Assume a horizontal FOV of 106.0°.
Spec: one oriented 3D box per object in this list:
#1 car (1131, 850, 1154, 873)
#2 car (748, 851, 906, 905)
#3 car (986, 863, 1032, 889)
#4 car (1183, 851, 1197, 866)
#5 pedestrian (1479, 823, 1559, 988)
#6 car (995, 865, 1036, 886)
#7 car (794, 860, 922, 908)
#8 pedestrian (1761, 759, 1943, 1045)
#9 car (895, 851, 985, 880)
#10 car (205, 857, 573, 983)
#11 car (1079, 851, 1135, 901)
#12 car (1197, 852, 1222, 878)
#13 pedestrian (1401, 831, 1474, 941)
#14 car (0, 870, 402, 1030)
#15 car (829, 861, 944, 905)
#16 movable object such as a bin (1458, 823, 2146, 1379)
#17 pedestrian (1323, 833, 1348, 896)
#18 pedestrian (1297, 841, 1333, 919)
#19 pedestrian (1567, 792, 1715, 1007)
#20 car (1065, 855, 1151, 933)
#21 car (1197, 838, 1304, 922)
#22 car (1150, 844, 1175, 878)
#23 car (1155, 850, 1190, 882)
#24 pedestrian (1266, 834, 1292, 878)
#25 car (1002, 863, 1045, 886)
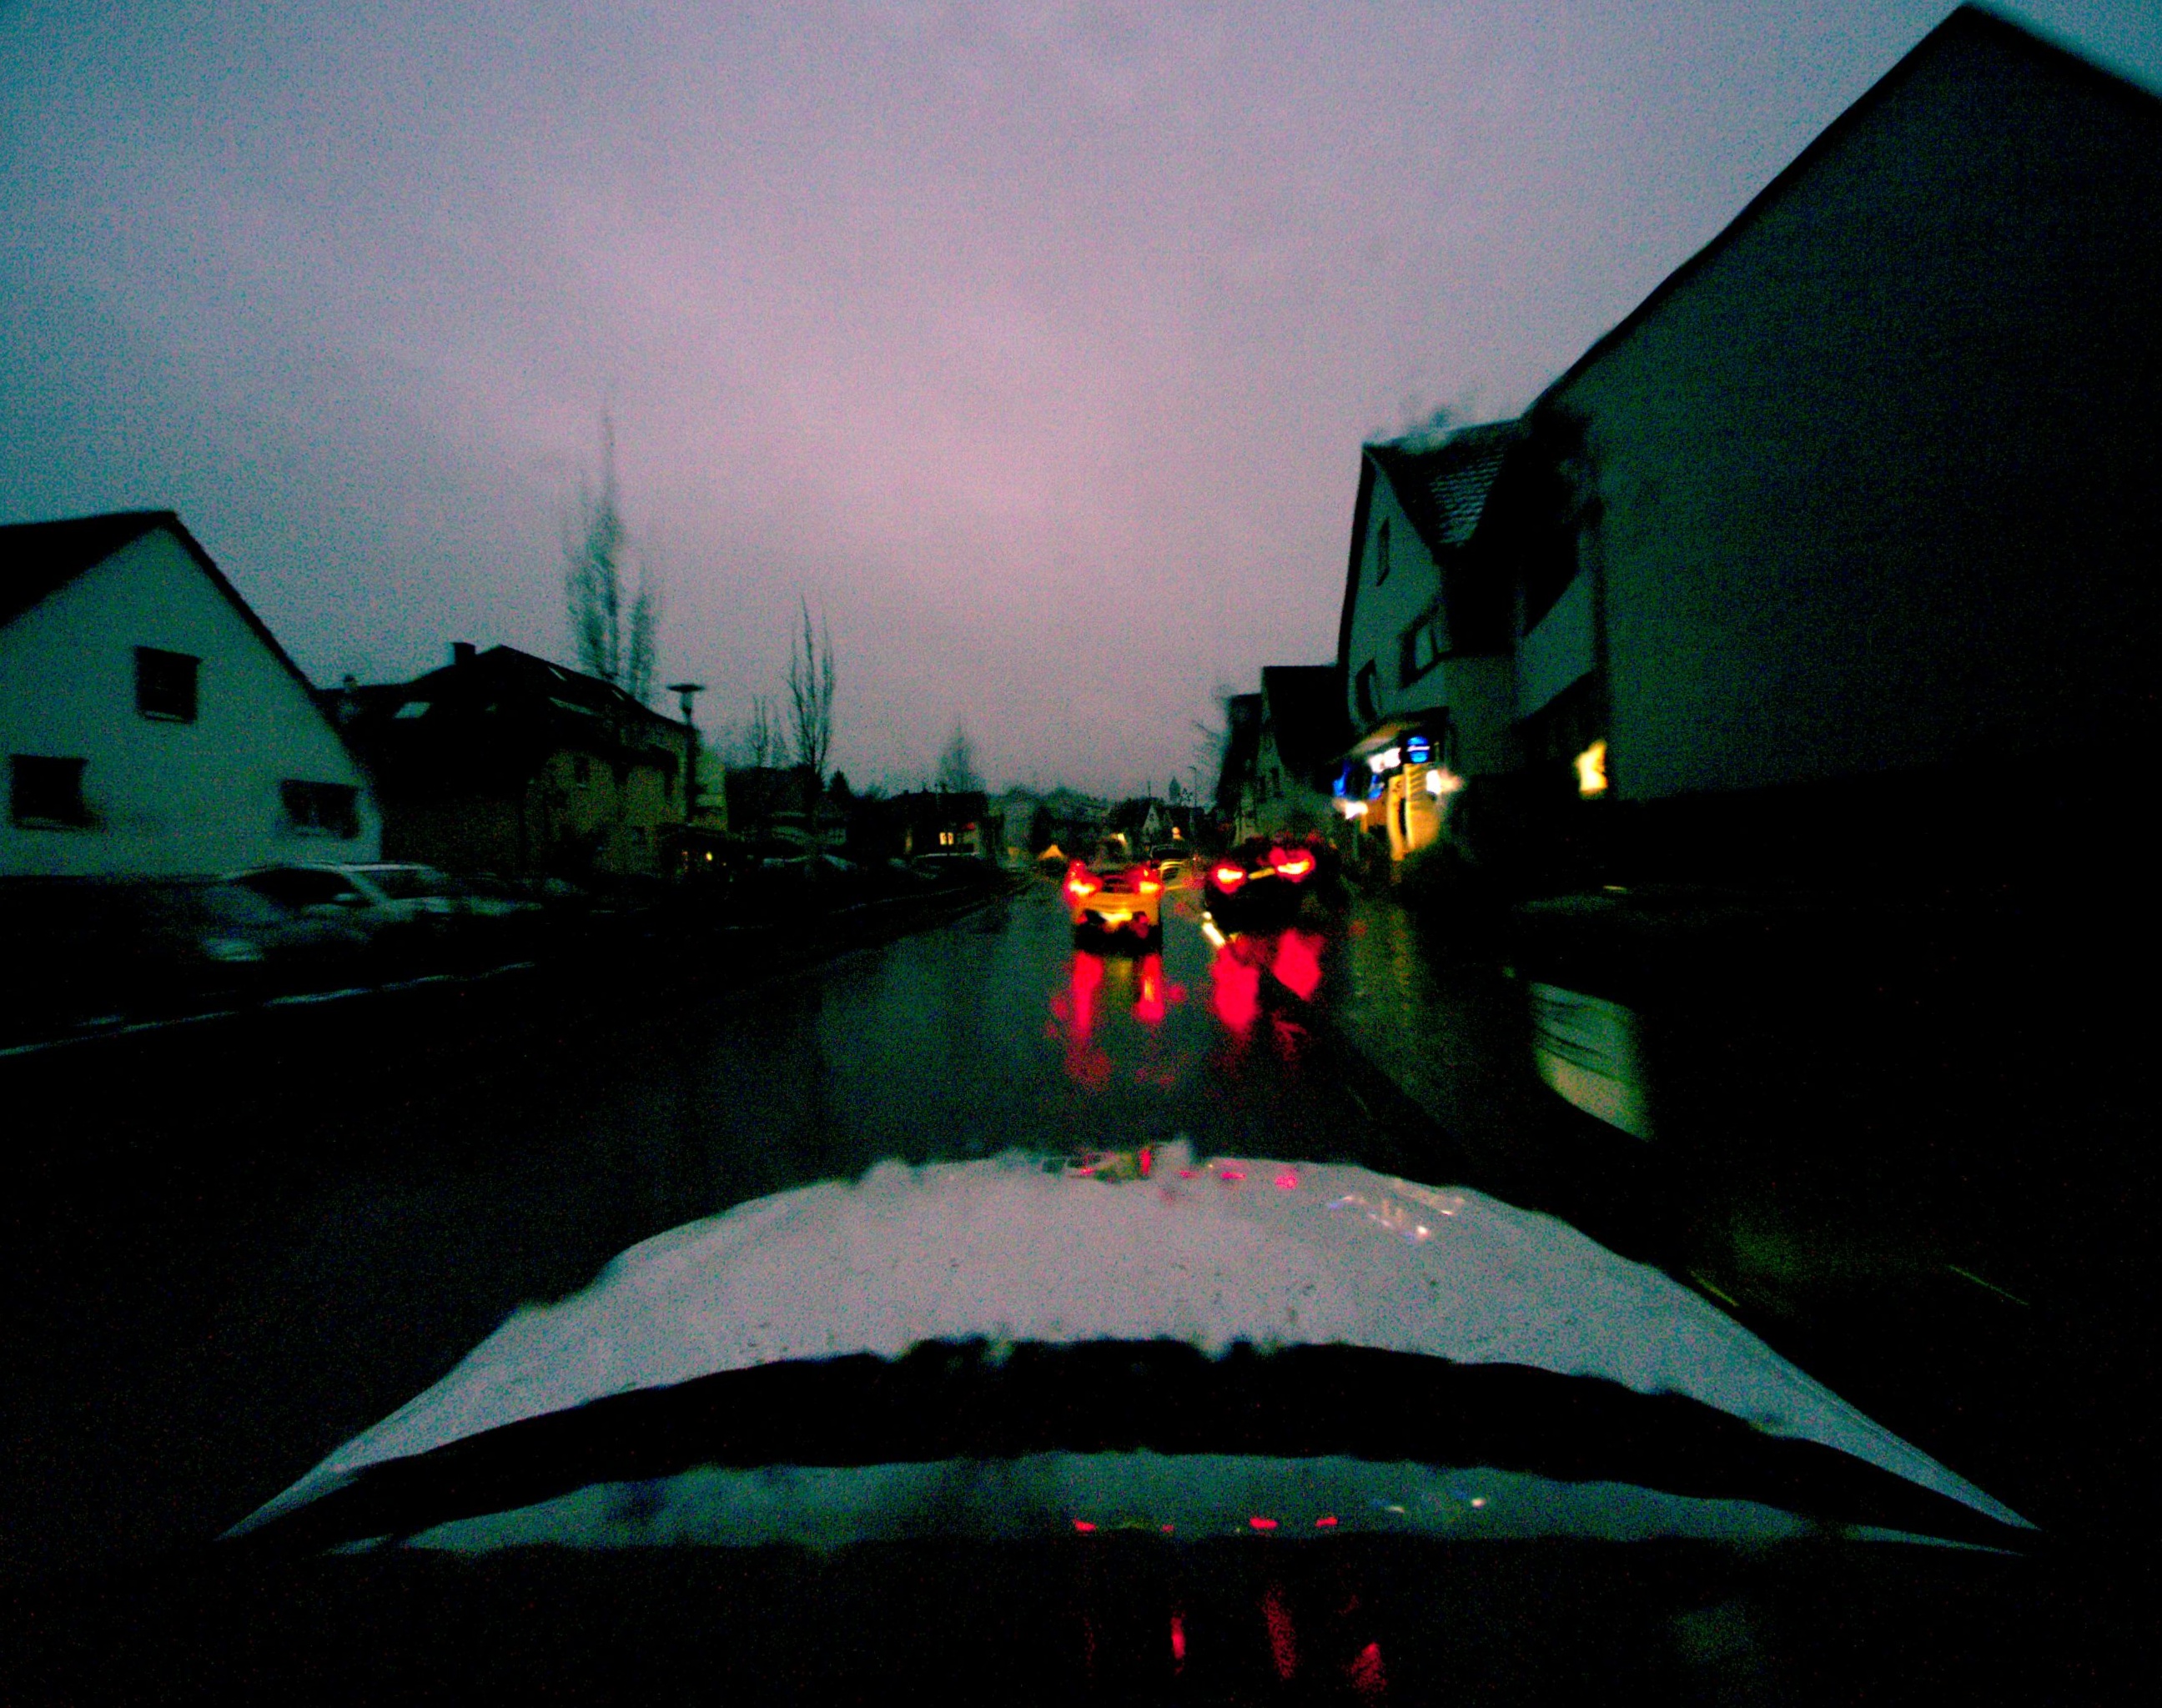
[{"bbox_3d":[5.763,0.728,76.369,1.986,2.014,4.002,-1,-1,2],"label":"car"},{"bbox_3d":[-8.403,0.785,27.283,4.610,1.667,2.000,-1,-1,0],"label":"car"},{"bbox_3d":[-6.724,2.068,75.264,2.011,2.252,4.332,2,-4,-43],"label":"car"},{"bbox_3d":[12.761,0.535,95.316,1.451,1.621,3.297,-1,-3,5],"label":"car"},{"bbox_3d":[4.608,0.511,8.624,0.476,1.630,1.023,-3,0,17],"label":"pedestrian"},{"bbox_3d":[-6.332,2.110,78.576,1.832,1.976,4.118,2,-4,-43],"label":"car"},{"bbox_3d":[-8.202,1.101,30.077,4.175,1.652,1.683,-1,-1,7],"label":"car"},{"bbox_3d":[5.246,0.304,5.599,0.525,1.800,0.867,-1,0,13],"label":"pedestrian"},{"bbox_3d":[-8.921,0.716,51.481,5.355,1.818,1.719,0,-1,16],"label":"car"},{"bbox_3d":[-9.188,0.844,10.959,3.771,1.523,1.719,-1,-1,9],"label":"car"},{"bbox_3d":[0.961,0.721,28.499,1.758,1.628,3.591,0,0,5],"label":"car"},{"bbox_3d":[11.881,1.047,75.716,1.984,2.249,4.004,-1,-3,5],"label":"car"},{"bbox_3d":[5.489,0.469,12.574,0.618,1.626,0.903,-2,1,-10],"label":"pedestrian"},{"bbox_3d":[-9.278,0.906,8.254,3.431,1.372,1.602,-1,0,2],"label":"car"},{"bbox_3d":[-7.833,1.156,33.006,4.144,1.644,1.661,-1,-1,7],"label":"car"},{"bbox_3d":[2.236,0.667,2.884,1.123,1.420,1.419,-5,0,5],"label":"movable object such as a bin"},{"bbox_3d":[7.045,0.303,22.589,0.613,1.727,0.503,-1,-3,15],"label":"pedestrian"},{"bbox_3d":[5.286,0.590,18.425,0.570,1.700,0.654,-4,-1,4],"label":"pedestrian"},{"bbox_3d":[4.813,0.370,7.079,0.707,1.715,1.039,-3,0,16],"label":"pedestrian"},{"bbox_3d":[0.575,0.734,16.334,1.556,1.412,3.020,0,0,3],"label":"car"},{"bbox_3d":[3.852,0.573,19.176,1.728,1.692,4.389,-2,-1,2],"label":"car"},{"bbox_3d":[6.305,0.599,63.480,1.862,2.469,4.448,0,-3,4],"label":"car"},{"bbox_3d":[5.698,0.747,51.076,1.989,1.865,4.086,-1,-1,3],"label":"car"},{"bbox_3d":[6.992,0.070,28.722,0.618,1.515,0.731,-2,1,-10],"label":"pedestrian"},{"bbox_3d":[-5.740,2.058,81.091,2.011,2.167,4.332,2,-4,-43],"label":"car"}]
